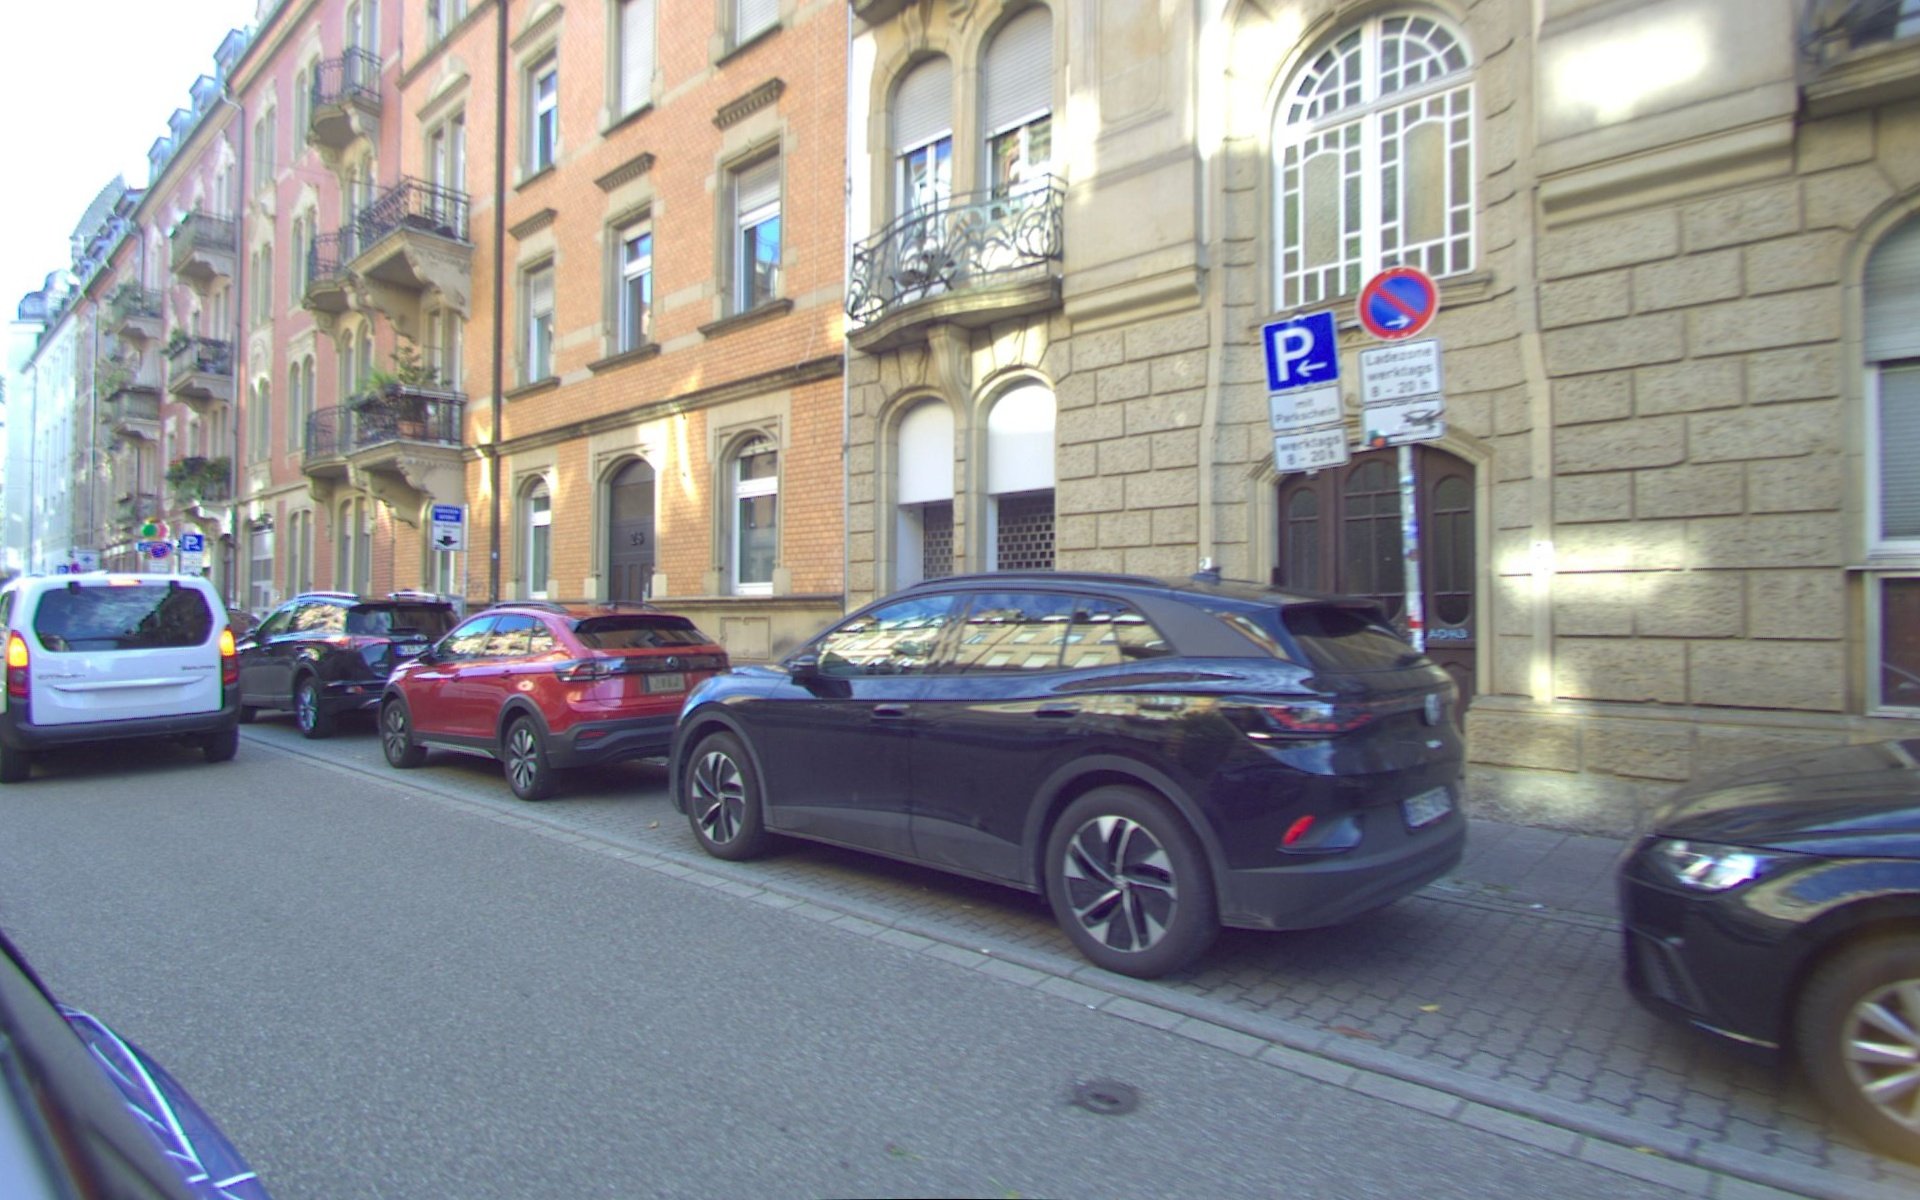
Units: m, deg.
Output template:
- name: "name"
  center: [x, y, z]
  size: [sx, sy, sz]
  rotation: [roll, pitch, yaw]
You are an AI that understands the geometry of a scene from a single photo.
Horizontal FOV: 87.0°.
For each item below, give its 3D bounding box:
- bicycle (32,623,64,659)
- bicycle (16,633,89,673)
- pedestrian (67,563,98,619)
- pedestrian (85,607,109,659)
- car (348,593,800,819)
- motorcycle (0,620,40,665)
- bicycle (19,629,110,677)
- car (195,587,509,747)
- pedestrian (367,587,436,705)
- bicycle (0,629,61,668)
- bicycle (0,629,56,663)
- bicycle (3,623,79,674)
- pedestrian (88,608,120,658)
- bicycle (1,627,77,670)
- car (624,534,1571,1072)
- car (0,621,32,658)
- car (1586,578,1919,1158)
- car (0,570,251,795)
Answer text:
- name: "bicycle"
  center: [-29.347, 1.309, 32.579]
  size: [0.570, 1.098, 1.742]
  rotation: [0, -1, -35]
- name: "bicycle"
  center: [-27.330, 1.583, 30.496]
  size: [0.548, 1.129, 1.735]
  rotation: [-1, 0, 5]
- name: "pedestrian"
  center: [-30.186, -0.289, 34.816]
  size: [0.637, 1.906, 0.603]
  rotation: [-1, -1, -19]
- name: "pedestrian"
  center: [-29.894, 1.123, 35.059]
  size: [0.596, 1.765, 0.727]
  rotation: [0, -1, -38]
- name: "car"
  center: [-3.656, 0.770, 9.186]
  size: [4.424, 1.556, 1.973]
  rotation: [-1, -2, 41]
- name: "motorcycle"
  center: [-29.956, 1.335, 32.216]
  size: [0.697, 1.395, 2.029]
  rotation: [0, -1, -34]
- name: "bicycle"
  center: [-24.006, 1.404, 27.193]
  size: [0.795, 1.167, 2.275]
  rotation: [-1, 0, -11]
- name: "car"
  center: [-7.938, 0.774, 13.003]
  size: [4.887, 1.693, 1.855]
  rotation: [-2, -1, 38]
- name: "pedestrian"
  center: [-8.892, 0.710, 16.111]
  size: [0.747, 1.822, 0.863]
  rotation: [0, -1, -45]
- name: "bicycle"
  center: [-28.522, 1.461, 30.965]
  size: [0.583, 1.129, 1.568]
  rotation: [-1, 0, 5]
- name: "bicycle"
  center: [-31.628, 1.548, 34.270]
  size: [1.556, 1.125, 0.375]
  rotation: [-1, -1, -9]
- name: "bicycle"
  center: [-25.790, 1.341, 28.430]
  size: [0.521, 1.332, 1.674]
  rotation: [-1, 0, 5]
- name: "pedestrian"
  center: [-30.672, 1.168, 36.275]
  size: [0.678, 1.773, 0.668]
  rotation: [-1, -1, -19]
- name: "bicycle"
  center: [-27.921, 1.455, 30.717]
  size: [0.583, 1.209, 1.788]
  rotation: [-1, 0, 5]
- name: "car"
  center: [0.288, 0.657, 5.389]
  size: [4.846, 1.641, 1.771]
  rotation: [-1, -2, 42]
- name: "car"
  center: [-37.873, 1.530, 39.559]
  size: [5.112, 1.361, 1.793]
  rotation: [-1, -1, 41]
- name: "car"
  center: [4.083, 0.661, 2.324]
  size: [4.242, 1.431, 1.973]
  rotation: [-1, -2, 41]
- name: "car"
  center: [-8.971, 0.707, 10.424]
  size: [4.439, 1.842, 1.896]
  rotation: [-1, -1, 44]
